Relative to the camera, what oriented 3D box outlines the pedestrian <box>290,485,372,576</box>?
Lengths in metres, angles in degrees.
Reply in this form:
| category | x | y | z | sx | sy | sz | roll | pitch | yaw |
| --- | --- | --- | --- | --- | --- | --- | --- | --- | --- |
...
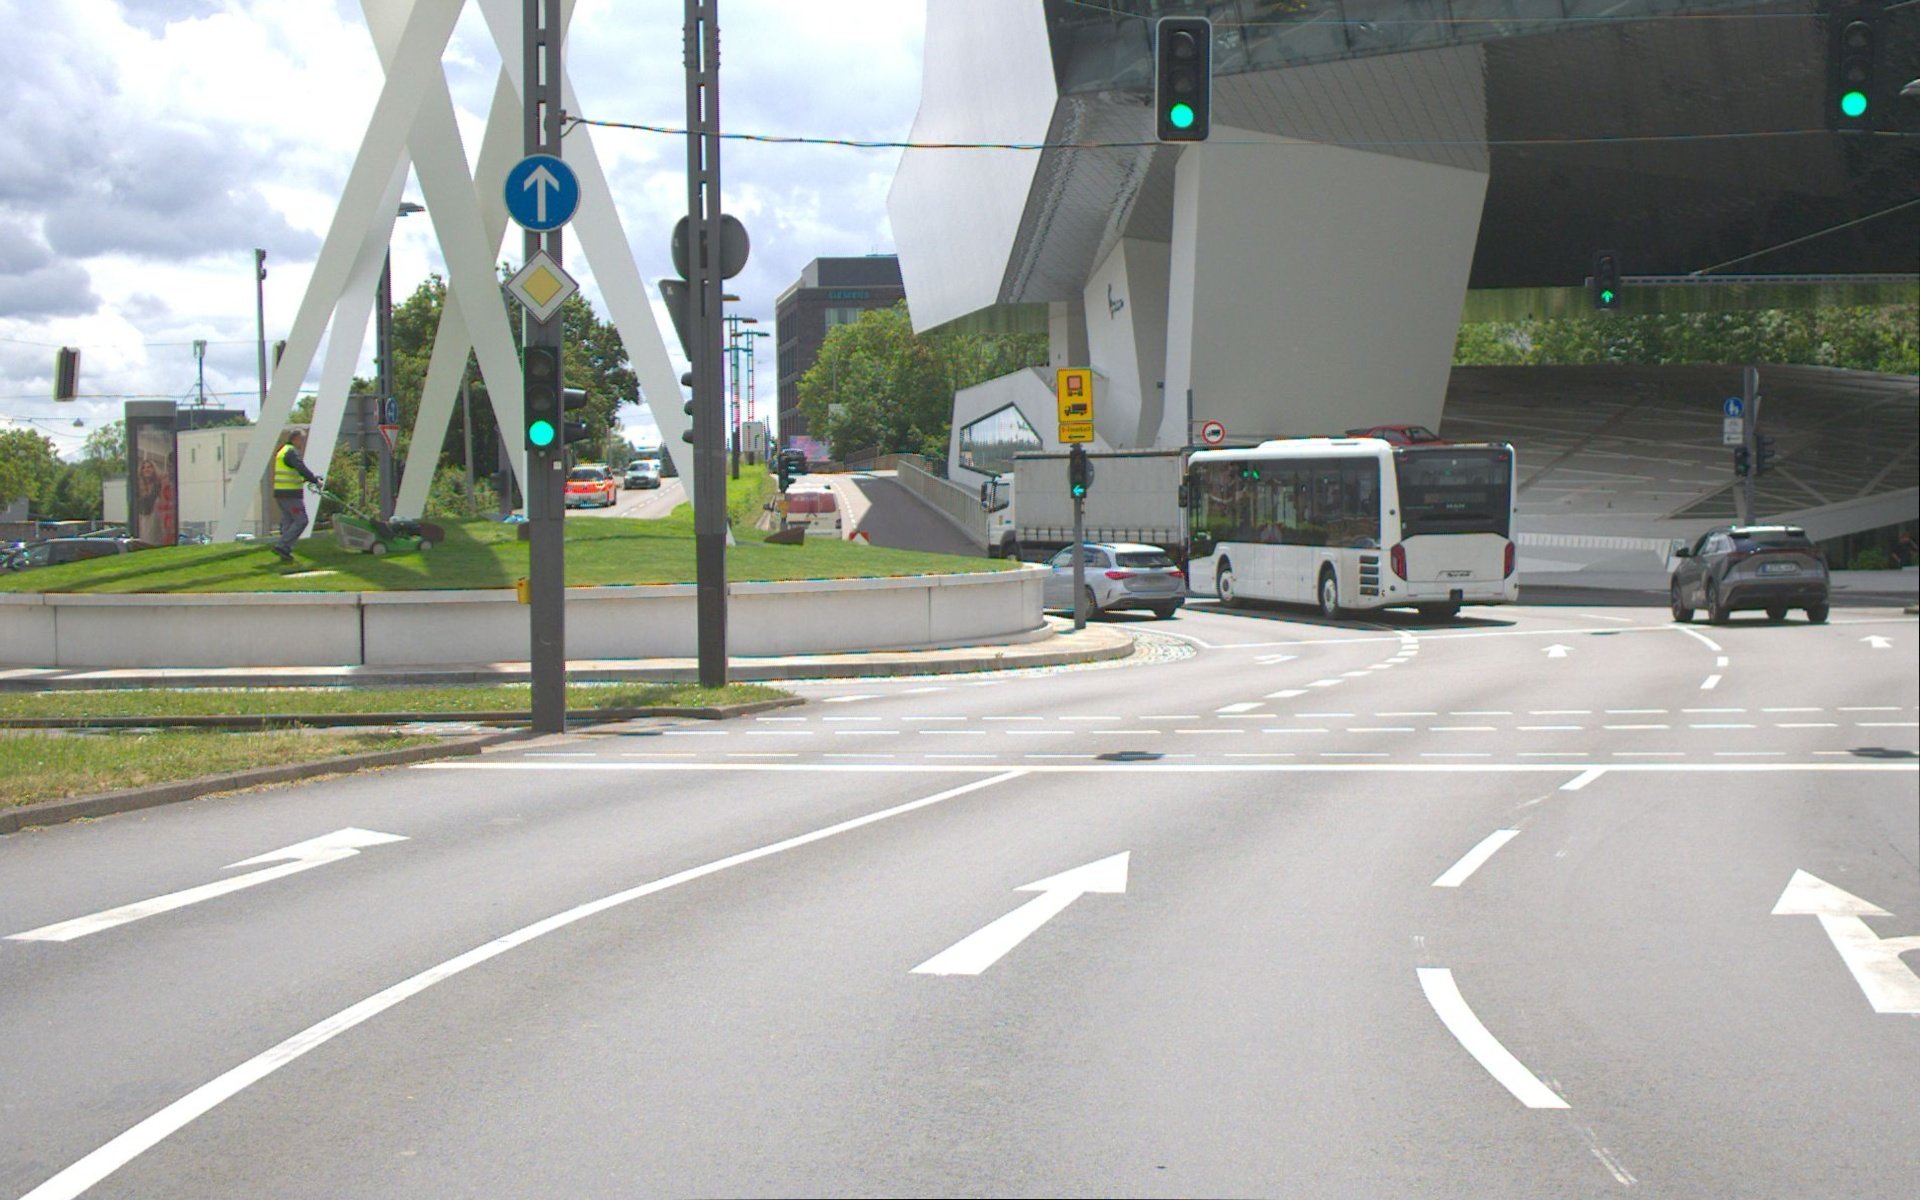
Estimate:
| category | x | y | z | sx | sy | sz | roll | pitch | yaw |
| --- | --- | --- | --- | --- | --- | --- | --- | --- | --- |
| pedestrian | -10.397 | -1.147 | 56.862 | 0.854 | 1.402 | 0.964 | -6 | -2 | 20 |

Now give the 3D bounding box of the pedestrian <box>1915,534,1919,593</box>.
| category | x | y | z | sx | sy | sz | roll | pitch | yaw |
| --- | --- | --- | --- | --- | --- | --- | --- | --- | --- |
| pedestrian | 26.094 | -0.960 | 91.953 | 0.921 | 1.567 | 0.829 | 1 | 0 | 24 |

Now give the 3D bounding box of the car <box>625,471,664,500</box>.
| category | x | y | z | sx | sy | sz | roll | pitch | yaw |
| --- | --- | --- | --- | --- | --- | --- | --- | --- | --- |
| car | -17.050 | -6.219 | 185.899 | 1.755 | 1.393 | 4.675 | 1 | 4 | -1 |

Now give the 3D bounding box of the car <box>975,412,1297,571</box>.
| category | x | y | z | sx | sy | sz | roll | pitch | yaw |
| --- | --- | --- | --- | --- | --- | --- | --- | --- | --- |
| car | 4.024 | -2.483 | 81.758 | 3.335 | 3.492 | 9.343 | 1 | 0 | -27 |

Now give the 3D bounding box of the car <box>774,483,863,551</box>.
| category | x | y | z | sx | sy | sz | roll | pitch | yaw |
| --- | --- | --- | --- | --- | --- | --- | --- | --- | --- |
| car | -4.190 | -2.426 | 101.116 | 1.993 | 1.897 | 4.001 | 1 | 0 | -11 |

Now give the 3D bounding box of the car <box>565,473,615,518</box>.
| category | x | y | z | sx | sy | sz | roll | pitch | yaw |
| --- | --- | --- | --- | --- | --- | --- | --- | --- | --- |
| car | -16.909 | -4.804 | 157.358 | 1.993 | 1.976 | 4.838 | -1 | 2 | -3 |

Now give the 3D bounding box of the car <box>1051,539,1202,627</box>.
| category | x | y | z | sx | sy | sz | roll | pitch | yaw |
| --- | --- | --- | --- | --- | --- | --- | --- | --- | --- |
| car | 3.201 | -0.335 | 66.938 | 1.993 | 1.631 | 4.001 | 1 | 0 | -11 |

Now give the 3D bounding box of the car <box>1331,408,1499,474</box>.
| category | x | y | z | sx | sy | sz | roll | pitch | yaw |
| --- | --- | --- | --- | --- | --- | --- | --- | --- | --- |
| car | 13.275 | -4.668 | 100.444 | 4.510 | 1.390 | 1.995 | 10 | 12 | 43 |

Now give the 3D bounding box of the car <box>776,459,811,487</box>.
| category | x | y | z | sx | sy | sz | roll | pitch | yaw |
| --- | --- | --- | --- | --- | --- | --- | --- | --- | --- |
| car | -10.172 | -7.779 | 210.676 | 1.993 | 1.630 | 4.656 | 1 | 2 | -1 |

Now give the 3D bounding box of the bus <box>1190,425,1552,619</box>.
| category | x | y | z | sx | sy | sz | roll | pitch | yaw |
| --- | --- | --- | --- | --- | --- | --- | --- | --- | --- |
| bus | 7.639 | -1.405 | 66.366 | 3.071 | 3.350 | 12.226 | 1 | 0 | -12 |

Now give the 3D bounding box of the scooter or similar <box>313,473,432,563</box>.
| category | x | y | z | sx | sy | sz | roll | pitch | yaw |
| --- | --- | --- | --- | --- | --- | --- | --- | --- | --- |
| scooter or similar | -7.786 | -1.090 | 45.567 | 1.400 | 1.022 | 0.550 | -6 | 8 | -21 |

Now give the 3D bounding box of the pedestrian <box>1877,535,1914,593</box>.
| category | x | y | z | sx | sy | sz | roll | pitch | yaw |
| --- | --- | --- | --- | --- | --- | --- | --- | --- | --- |
| pedestrian | 25.439 | -0.977 | 93.484 | 0.829 | 1.567 | 0.922 | 1 | 0 | 25 |

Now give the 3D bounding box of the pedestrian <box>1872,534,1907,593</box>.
| category | x | y | z | sx | sy | sz | roll | pitch | yaw |
| --- | --- | --- | --- | --- | --- | --- | --- | --- | --- |
| pedestrian | 24.986 | -0.985 | 92.401 | 0.828 | 1.567 | 0.922 | 1 | 0 | 20 |

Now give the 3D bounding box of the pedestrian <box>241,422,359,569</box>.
| category | x | y | z | sx | sy | sz | roll | pitch | yaw |
| --- | --- | --- | --- | --- | --- | --- | --- | --- | --- |
| pedestrian | -8.676 | -1.389 | 45.184 | 1.281 | 1.810 | 0.987 | -5 | 5 | -18 |

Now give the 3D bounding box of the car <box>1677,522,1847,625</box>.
| category | x | y | z | sx | sy | sz | roll | pitch | yaw |
| --- | --- | --- | --- | --- | --- | --- | --- | --- | --- |
| car | 13.191 | -0.453 | 56.760 | 1.993 | 1.631 | 4.000 | 0 | 1 | 2 |

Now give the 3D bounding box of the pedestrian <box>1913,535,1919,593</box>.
| category | x | y | z | sx | sy | sz | roll | pitch | yaw |
| --- | --- | --- | --- | --- | --- | --- | --- | --- | --- |
| pedestrian | 26.380 | -0.963 | 93.117 | 0.922 | 1.567 | 0.829 | 1 | 0 | 28 |
